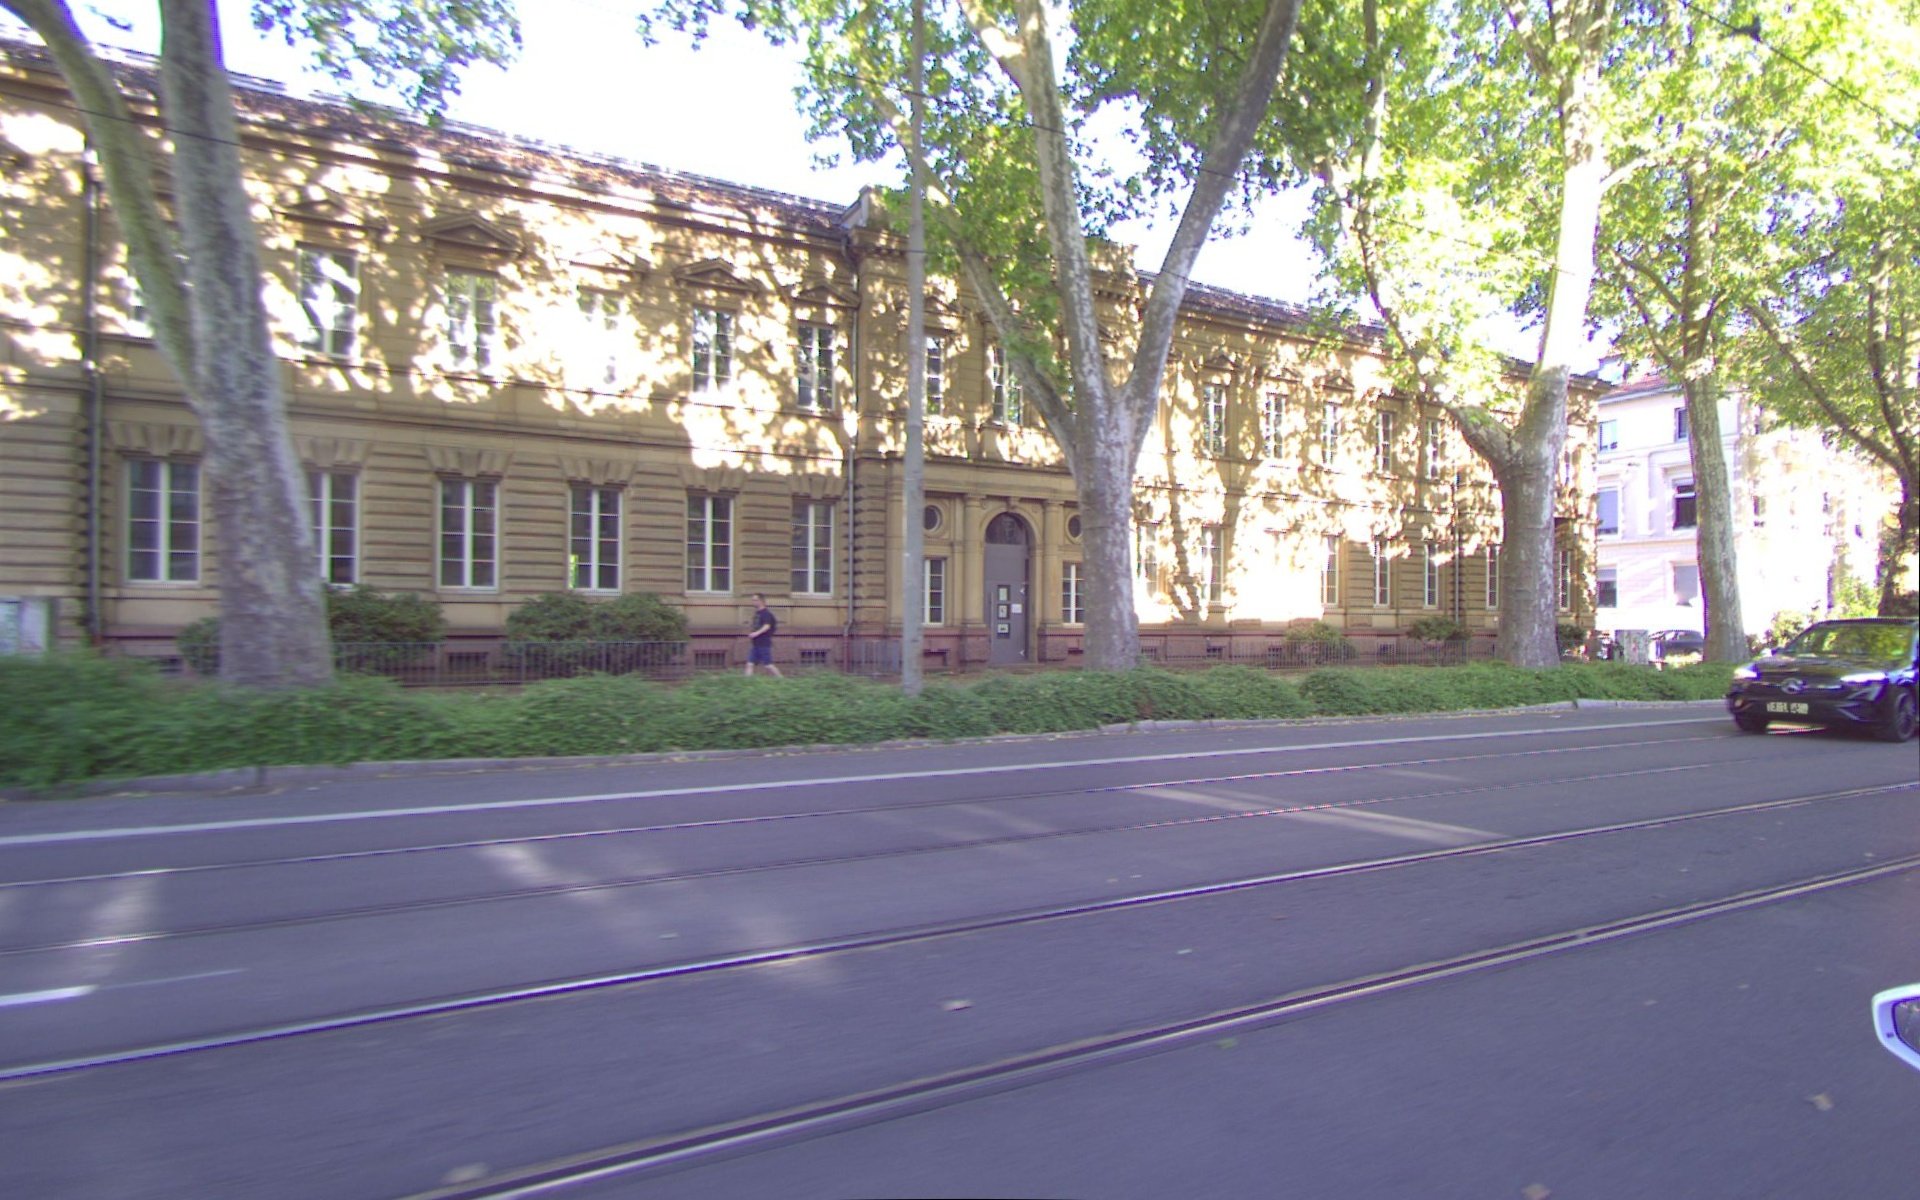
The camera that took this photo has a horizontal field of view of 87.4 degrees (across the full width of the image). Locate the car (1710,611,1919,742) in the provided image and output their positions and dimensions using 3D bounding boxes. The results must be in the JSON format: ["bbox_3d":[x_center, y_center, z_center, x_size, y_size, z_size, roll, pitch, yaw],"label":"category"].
[{"bbox_3d":[13.123,1.012,14.648,4.505,1.651,1.858,1,-1,-29],"label":"car"}]

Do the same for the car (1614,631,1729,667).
[{"bbox_3d":[31.031,2.100,43.909,1.673,1.437,3.762,-2,0,-28],"label":"car"}]

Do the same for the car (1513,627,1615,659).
[{"bbox_3d":[28.889,2.013,48.140,1.673,1.437,3.904,-1,-1,-28],"label":"car"}]

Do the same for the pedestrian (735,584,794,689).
[{"bbox_3d":[-3.622,0.667,18.627,0.829,1.874,0.714,2,-1,-36],"label":"pedestrian"}]
